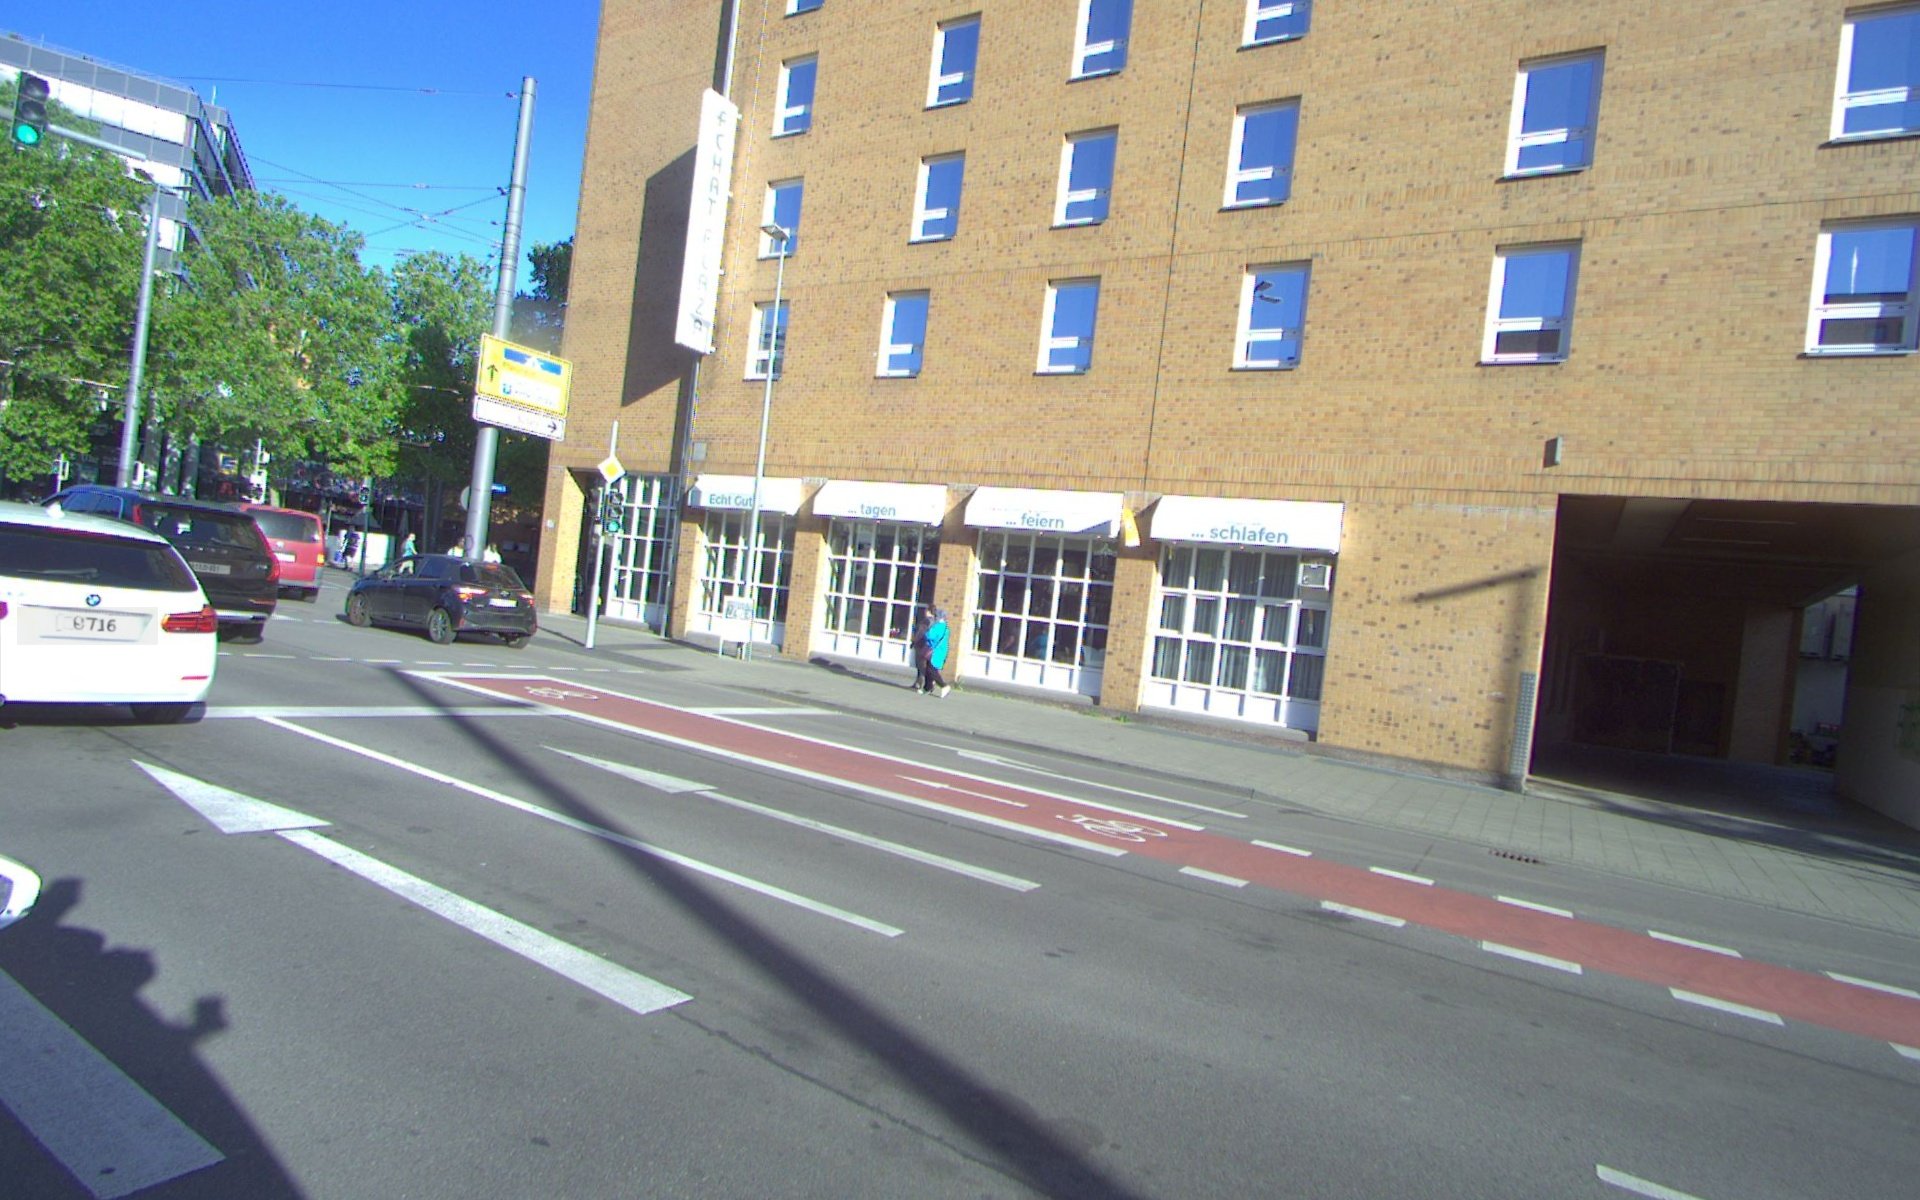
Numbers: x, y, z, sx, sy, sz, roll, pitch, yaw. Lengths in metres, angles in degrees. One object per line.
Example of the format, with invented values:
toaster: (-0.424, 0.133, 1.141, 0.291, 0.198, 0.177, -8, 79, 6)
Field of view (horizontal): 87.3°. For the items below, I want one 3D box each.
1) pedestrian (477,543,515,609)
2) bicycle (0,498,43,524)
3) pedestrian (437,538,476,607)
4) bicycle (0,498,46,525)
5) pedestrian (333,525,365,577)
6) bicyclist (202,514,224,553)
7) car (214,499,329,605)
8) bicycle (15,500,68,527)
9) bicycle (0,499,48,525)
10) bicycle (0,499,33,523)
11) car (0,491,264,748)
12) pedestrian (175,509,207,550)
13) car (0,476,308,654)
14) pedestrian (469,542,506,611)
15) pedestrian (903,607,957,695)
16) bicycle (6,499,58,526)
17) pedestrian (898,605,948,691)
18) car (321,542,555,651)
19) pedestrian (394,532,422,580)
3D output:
pedestrian: (-13.502, -0.683, 29.292, 0.726, 1.813, 0.510, 7, -1, -19)
bicycle: (-49.992, -4.718, 53.342, 0.354, 1.058, 1.885, 7, -2, 31)
pedestrian: (-13.611, -0.744, 27.184, 0.670, 1.804, 0.593, 5, 3, 29)
bicycle: (-49.577, -4.669, 53.083, 0.354, 1.058, 1.885, 7, -2, 31)
pedestrian: (-23.994, -1.910, 39.522, 0.787, 1.920, 0.809, 8, -1, -39)
bicyclist: (-37.180, -3.318, 50.050, 0.396, 1.859, 0.585, 6, -1, 32)
car: (-15.775, -1.101, 22.953, 1.794, 2.033, 4.427, 6, 0, -37)
bicycle: (-46.878, -4.417, 51.347, 0.354, 1.058, 1.884, 6, -2, 31)
bicycle: (-49.210, -4.622, 52.770, 0.354, 1.058, 1.884, 6, -2, 31)
bicycle: (-50.988, -4.834, 53.870, 0.354, 1.058, 1.884, 7, -2, 31)
car: (-7.152, -0.025, 7.307, 4.345, 1.474, 1.735, 6, -2, 32)
pedestrian: (-31.562, -2.894, 41.283, 0.689, 1.550, 0.568, 7, -1, 13)
car: (-10.636, -0.489, 12.842, 4.531, 1.752, 1.736, 6, -2, 28)
pedestrian: (-13.011, -0.641, 27.709, 0.673, 1.802, 0.591, 6, 1, 43)
pedestrian: (-0.528, 0.896, 17.692, 0.591, 1.470, 0.593, 6, 1, 32)
bicycle: (-48.178, -4.523, 52.227, 0.354, 1.058, 1.884, 6, -2, 31)
pedestrian: (-0.675, 0.881, 18.348, 0.543, 1.495, 0.593, 6, 1, 32)
car: (-9.572, -0.078, 18.423, 3.971, 1.466, 1.736, 6, -2, 28)
pedestrian: (-20.813, -1.656, 37.904, 0.636, 1.719, 0.715, 8, -1, -39)
